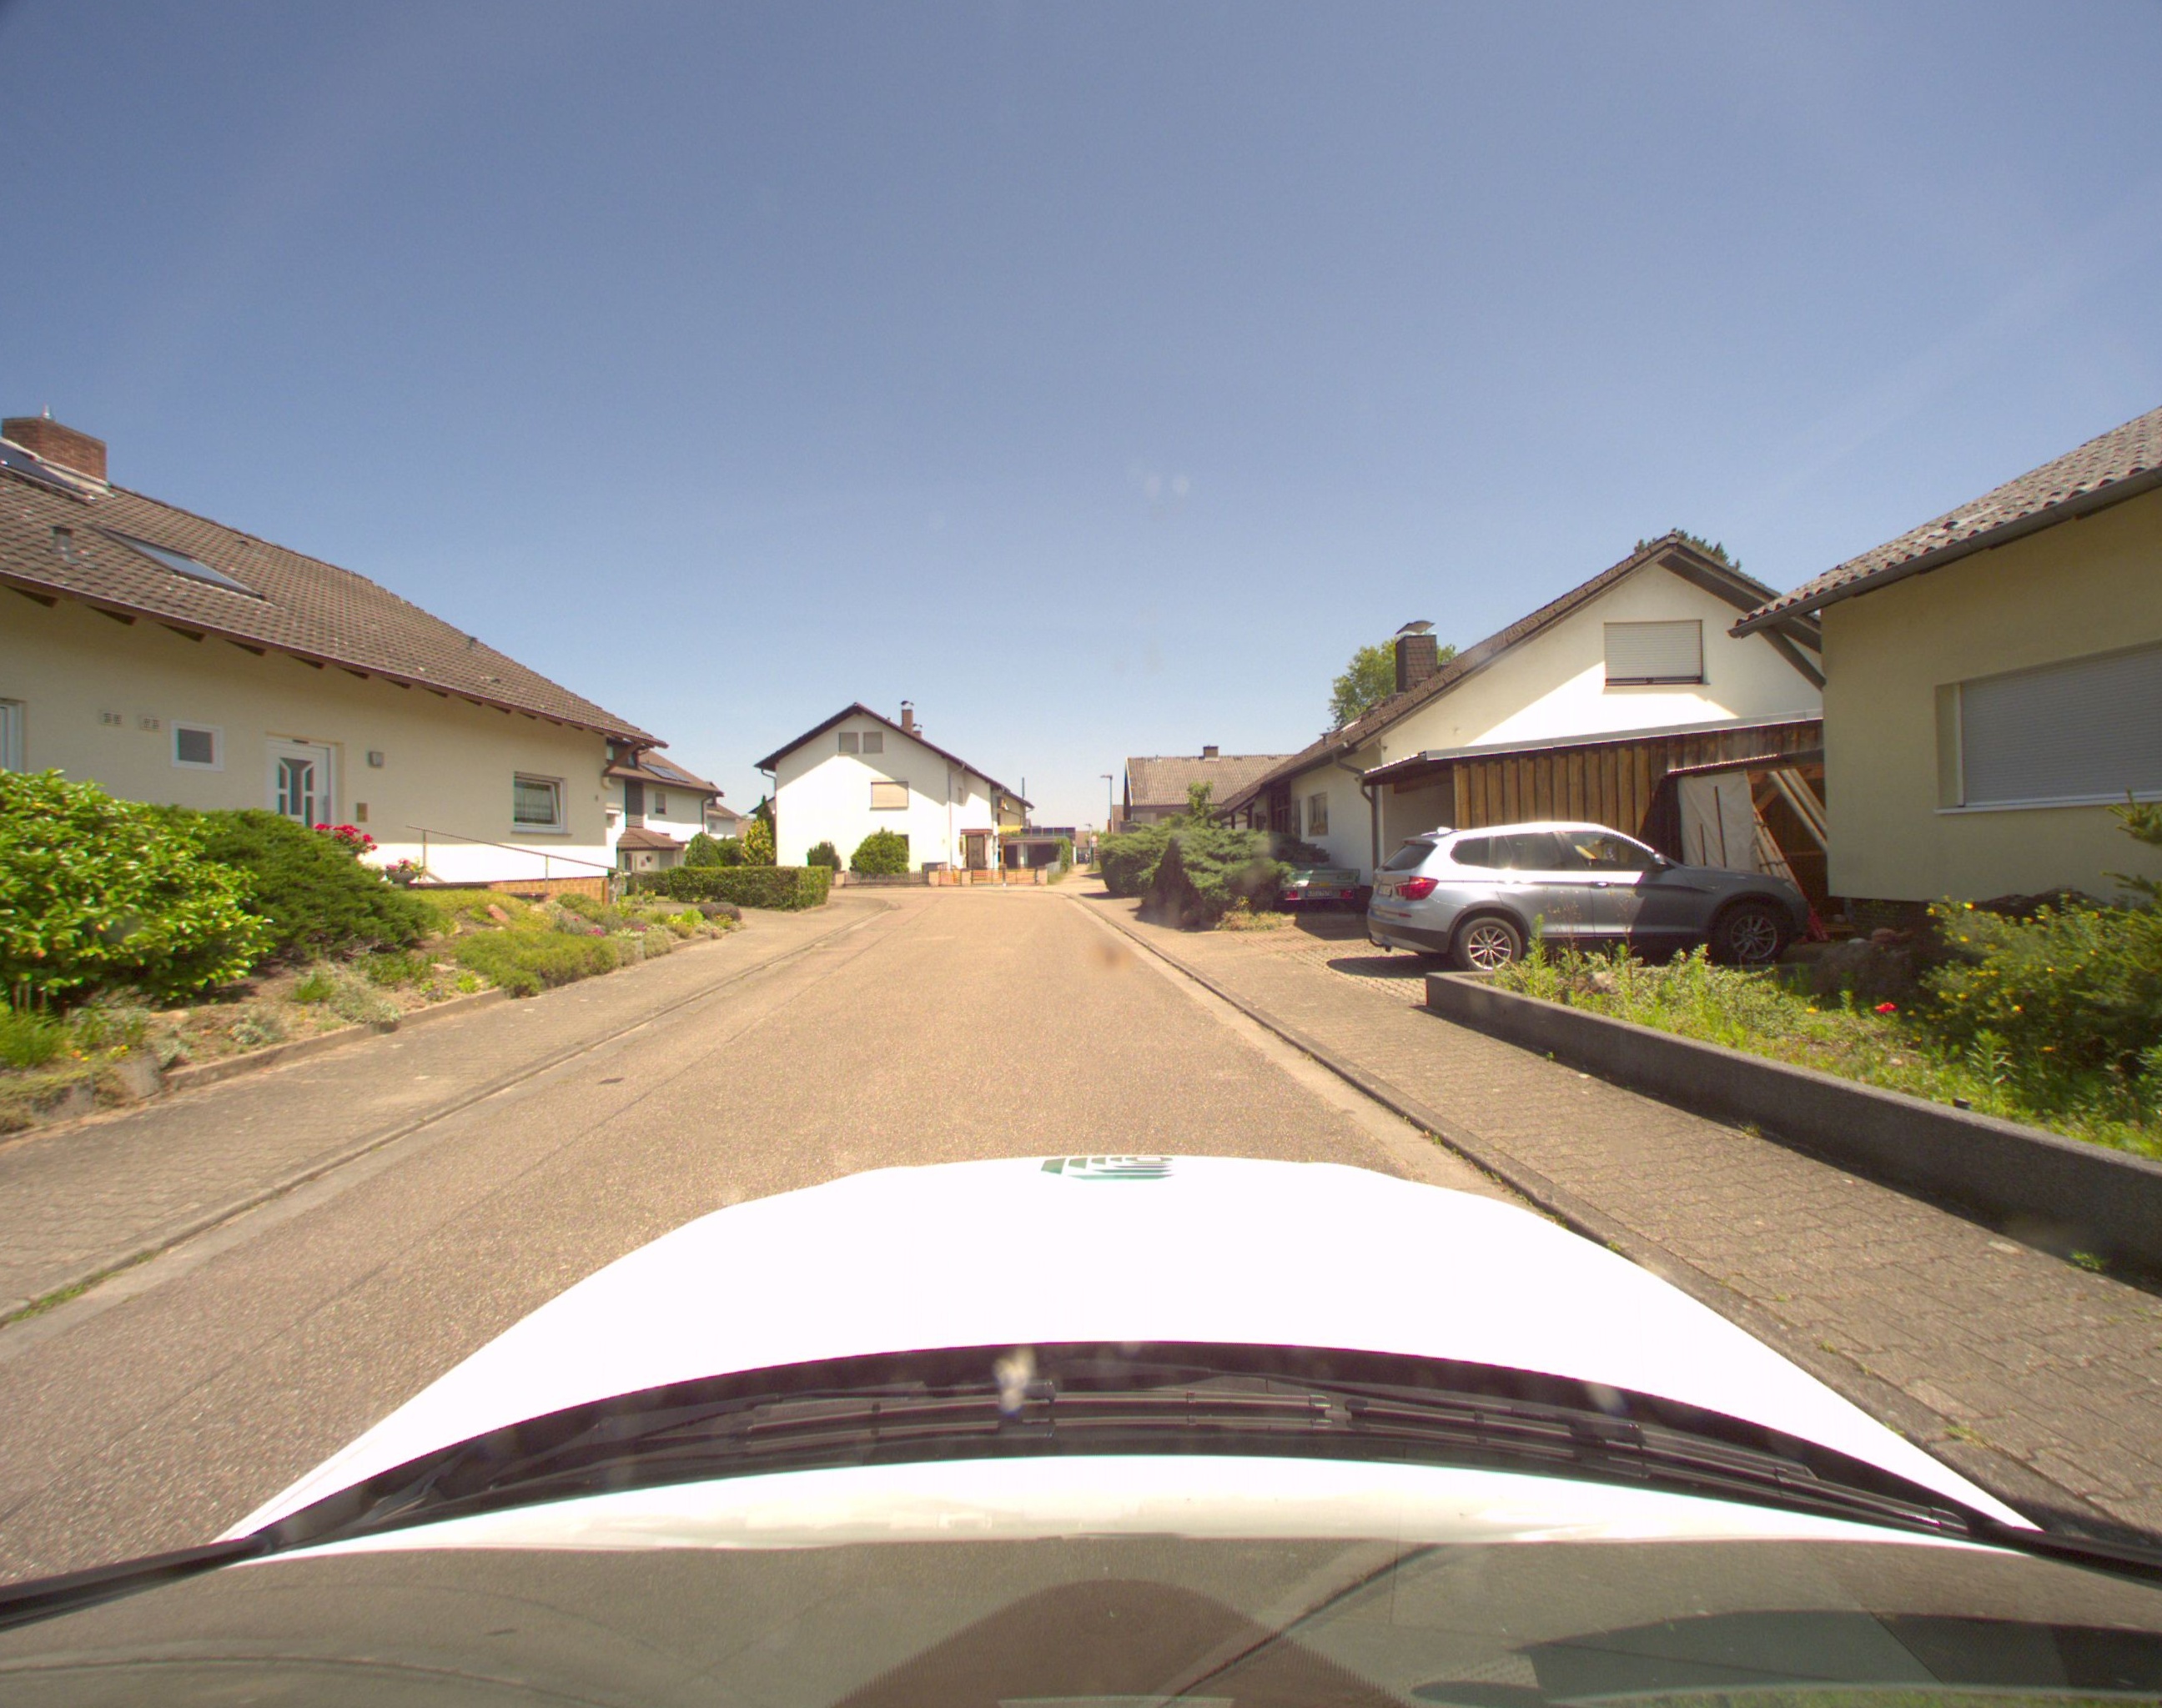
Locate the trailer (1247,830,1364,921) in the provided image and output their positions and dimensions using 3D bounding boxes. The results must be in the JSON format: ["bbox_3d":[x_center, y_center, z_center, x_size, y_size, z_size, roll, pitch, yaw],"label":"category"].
[{"bbox_3d":[4.652,0.403,17.312,1.581,1.672,3.298,-3,0,2],"label":"trailer"}]

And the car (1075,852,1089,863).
[{"bbox_3d":[0.249,0.580,135.458,2.185,1.701,3.809,-2,0,2],"label":"car"}]

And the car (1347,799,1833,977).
[{"bbox_3d":[5.763,0.380,9.700,4.607,1.702,1.711,-3,0,4],"label":"car"}]
